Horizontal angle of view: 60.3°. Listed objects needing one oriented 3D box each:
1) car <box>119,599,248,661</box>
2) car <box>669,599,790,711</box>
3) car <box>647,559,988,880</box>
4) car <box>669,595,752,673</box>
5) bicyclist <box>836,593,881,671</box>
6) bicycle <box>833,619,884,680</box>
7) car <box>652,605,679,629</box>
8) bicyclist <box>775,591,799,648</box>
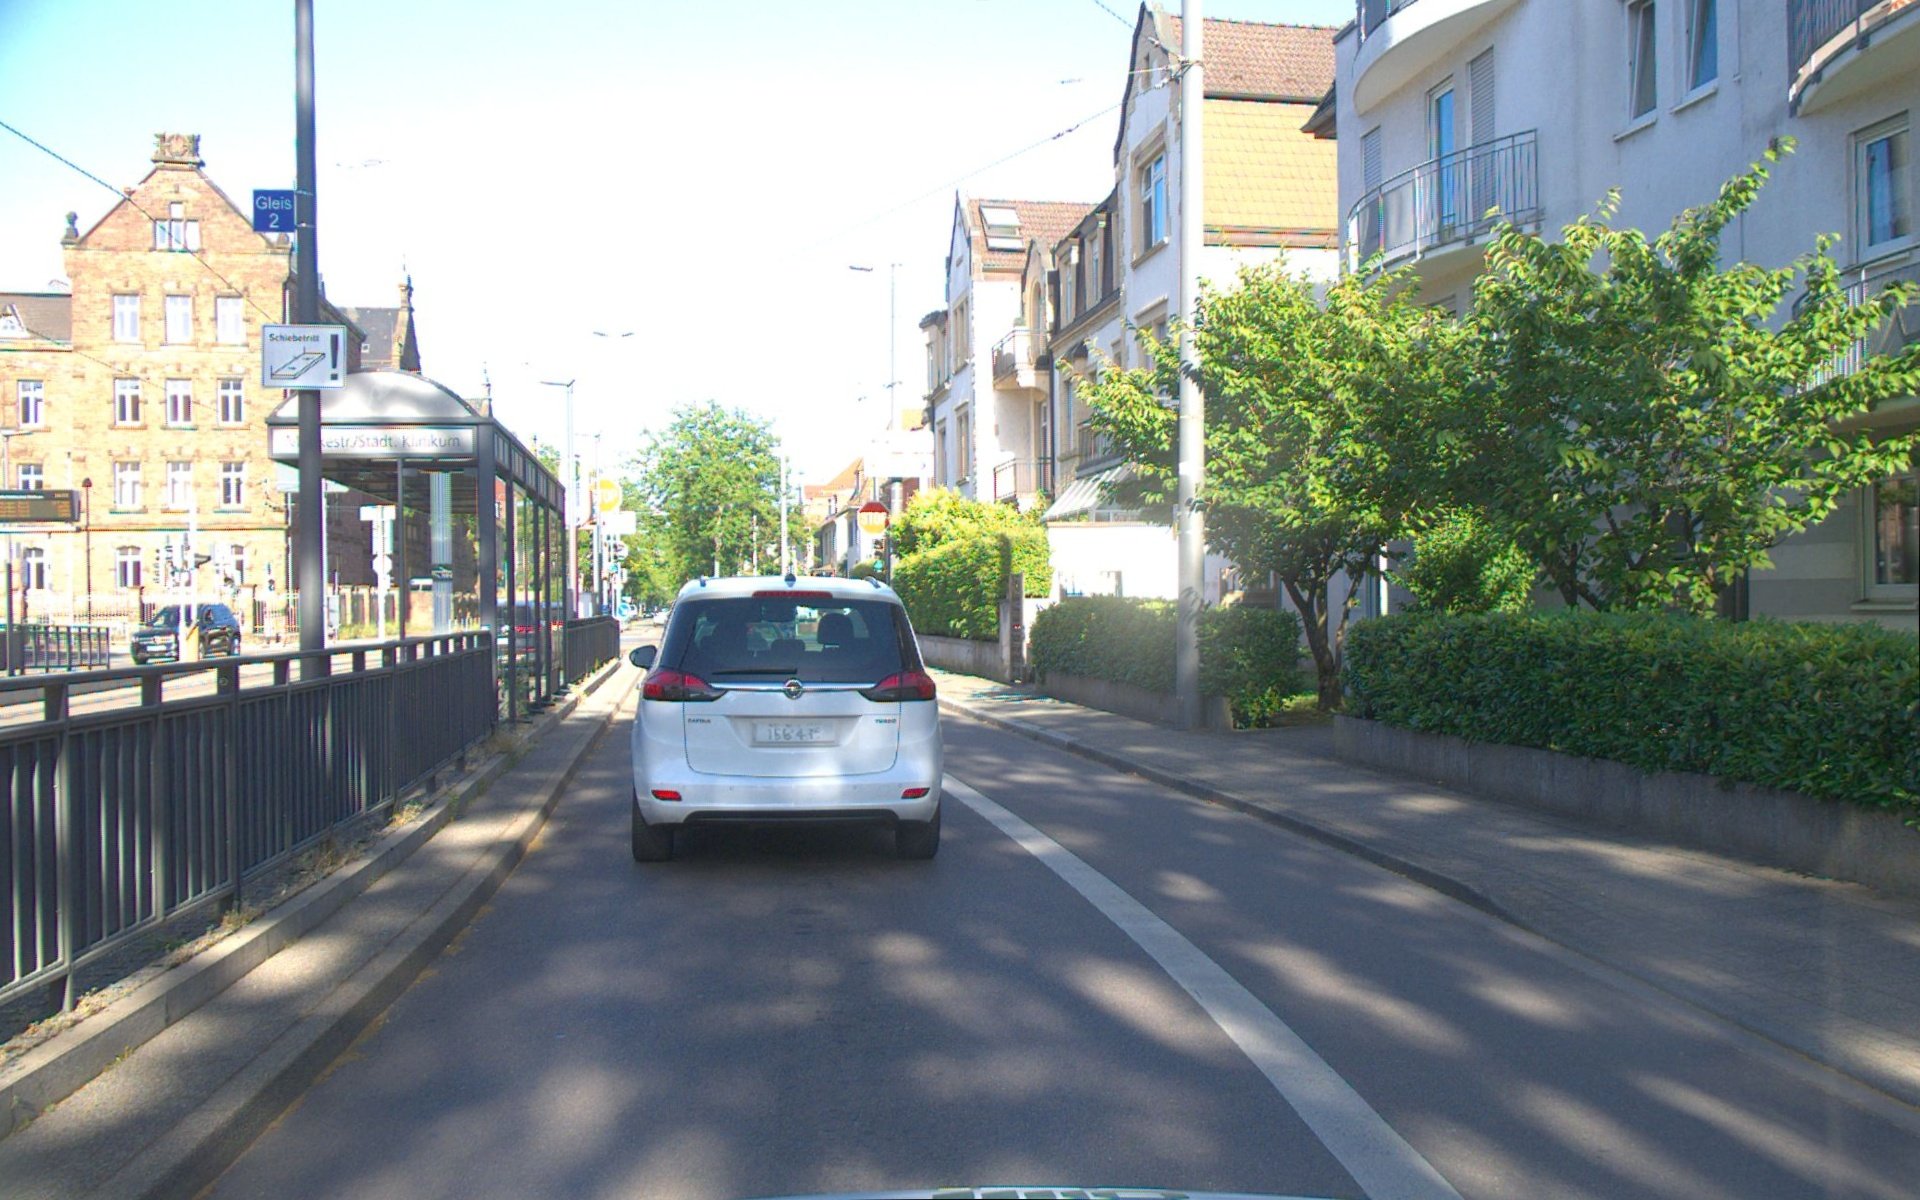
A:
[{"bbox_3d":[-22.758,0.847,48.662,1.868,1.706,4.356,-1,0,-2],"label":"car"},{"bbox_3d":[-3.306,0.724,23.883,1.556,1.445,3.893,-1,0,-8],"label":"car"},{"bbox_3d":[-1.036,0.639,10.704,1.801,1.671,3.910,0,-1,-9],"label":"car"},{"bbox_3d":[-5.637,0.739,37.231,1.743,1.660,3.872,0,-1,-9],"label":"car"},{"bbox_3d":[-2.055,0.638,33.343,0.806,1.528,0.932,0,-1,-10],"label":"bicyclist"},{"bbox_3d":[-2.079,0.981,33.544,0.814,1.175,2.089,0,-1,-10],"label":"bicycle"},{"bbox_3d":[-21.660,1.262,121.593,1.742,1.722,3.874,0,-1,-8],"label":"car"},{"bbox_3d":[-5.151,0.570,49.181,0.672,1.663,1.014,0,-1,-7],"label":"bicyclist"}]
